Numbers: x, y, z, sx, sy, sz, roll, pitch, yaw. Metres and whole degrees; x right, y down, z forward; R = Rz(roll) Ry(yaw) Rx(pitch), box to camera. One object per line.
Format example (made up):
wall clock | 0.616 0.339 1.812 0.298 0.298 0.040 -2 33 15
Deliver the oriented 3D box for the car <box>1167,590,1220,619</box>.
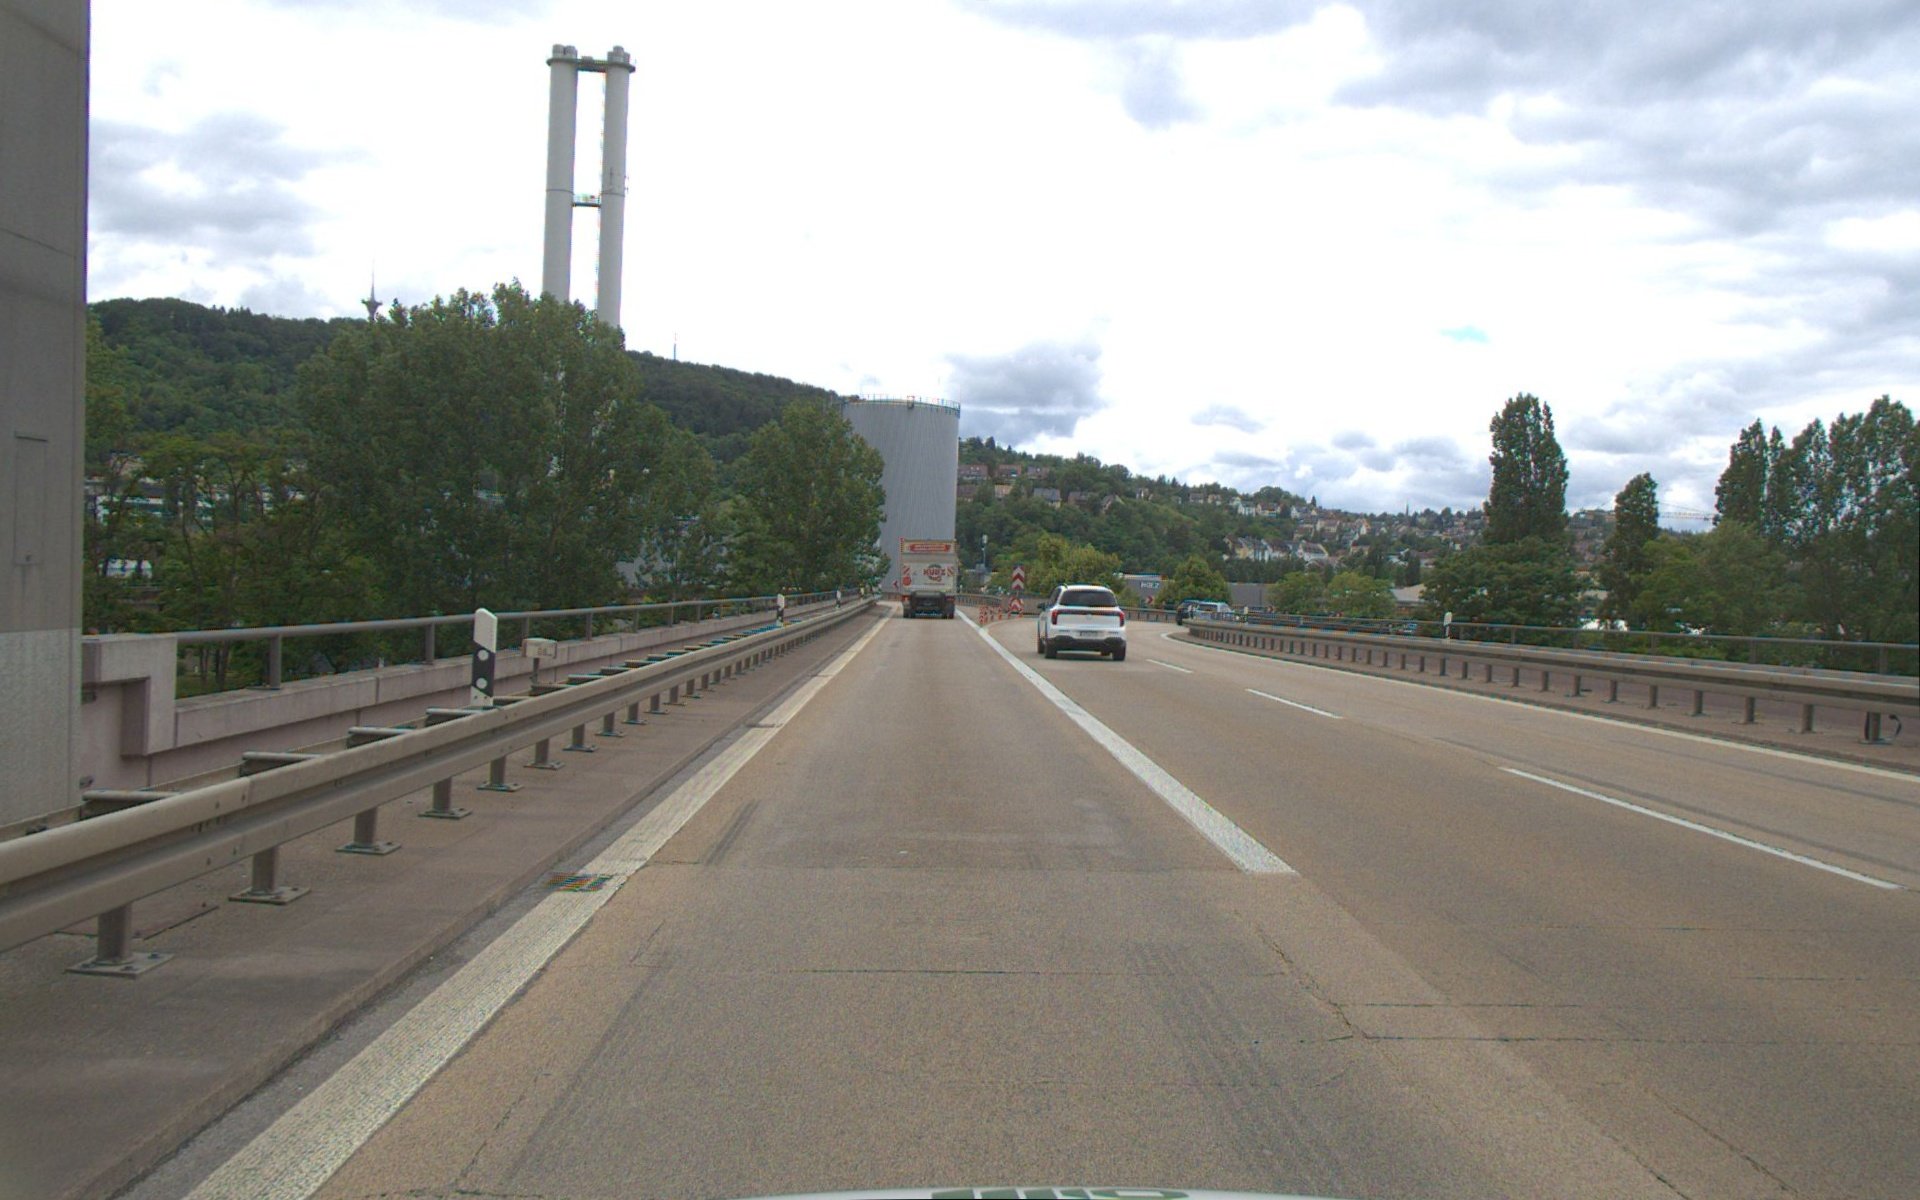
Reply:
car | 14.924 0.278 105.530 1.889 1.816 4.104 1 1 31

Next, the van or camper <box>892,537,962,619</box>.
van or camper | -1.506 -0.997 78.415 3.058 3.641 8.549 1 0 0

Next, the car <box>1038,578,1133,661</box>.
car | 2.891 0.411 38.856 1.884 1.816 4.113 1 1 0

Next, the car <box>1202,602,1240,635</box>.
car | 15.463 1.092 97.901 1.883 1.816 4.116 1 1 13
